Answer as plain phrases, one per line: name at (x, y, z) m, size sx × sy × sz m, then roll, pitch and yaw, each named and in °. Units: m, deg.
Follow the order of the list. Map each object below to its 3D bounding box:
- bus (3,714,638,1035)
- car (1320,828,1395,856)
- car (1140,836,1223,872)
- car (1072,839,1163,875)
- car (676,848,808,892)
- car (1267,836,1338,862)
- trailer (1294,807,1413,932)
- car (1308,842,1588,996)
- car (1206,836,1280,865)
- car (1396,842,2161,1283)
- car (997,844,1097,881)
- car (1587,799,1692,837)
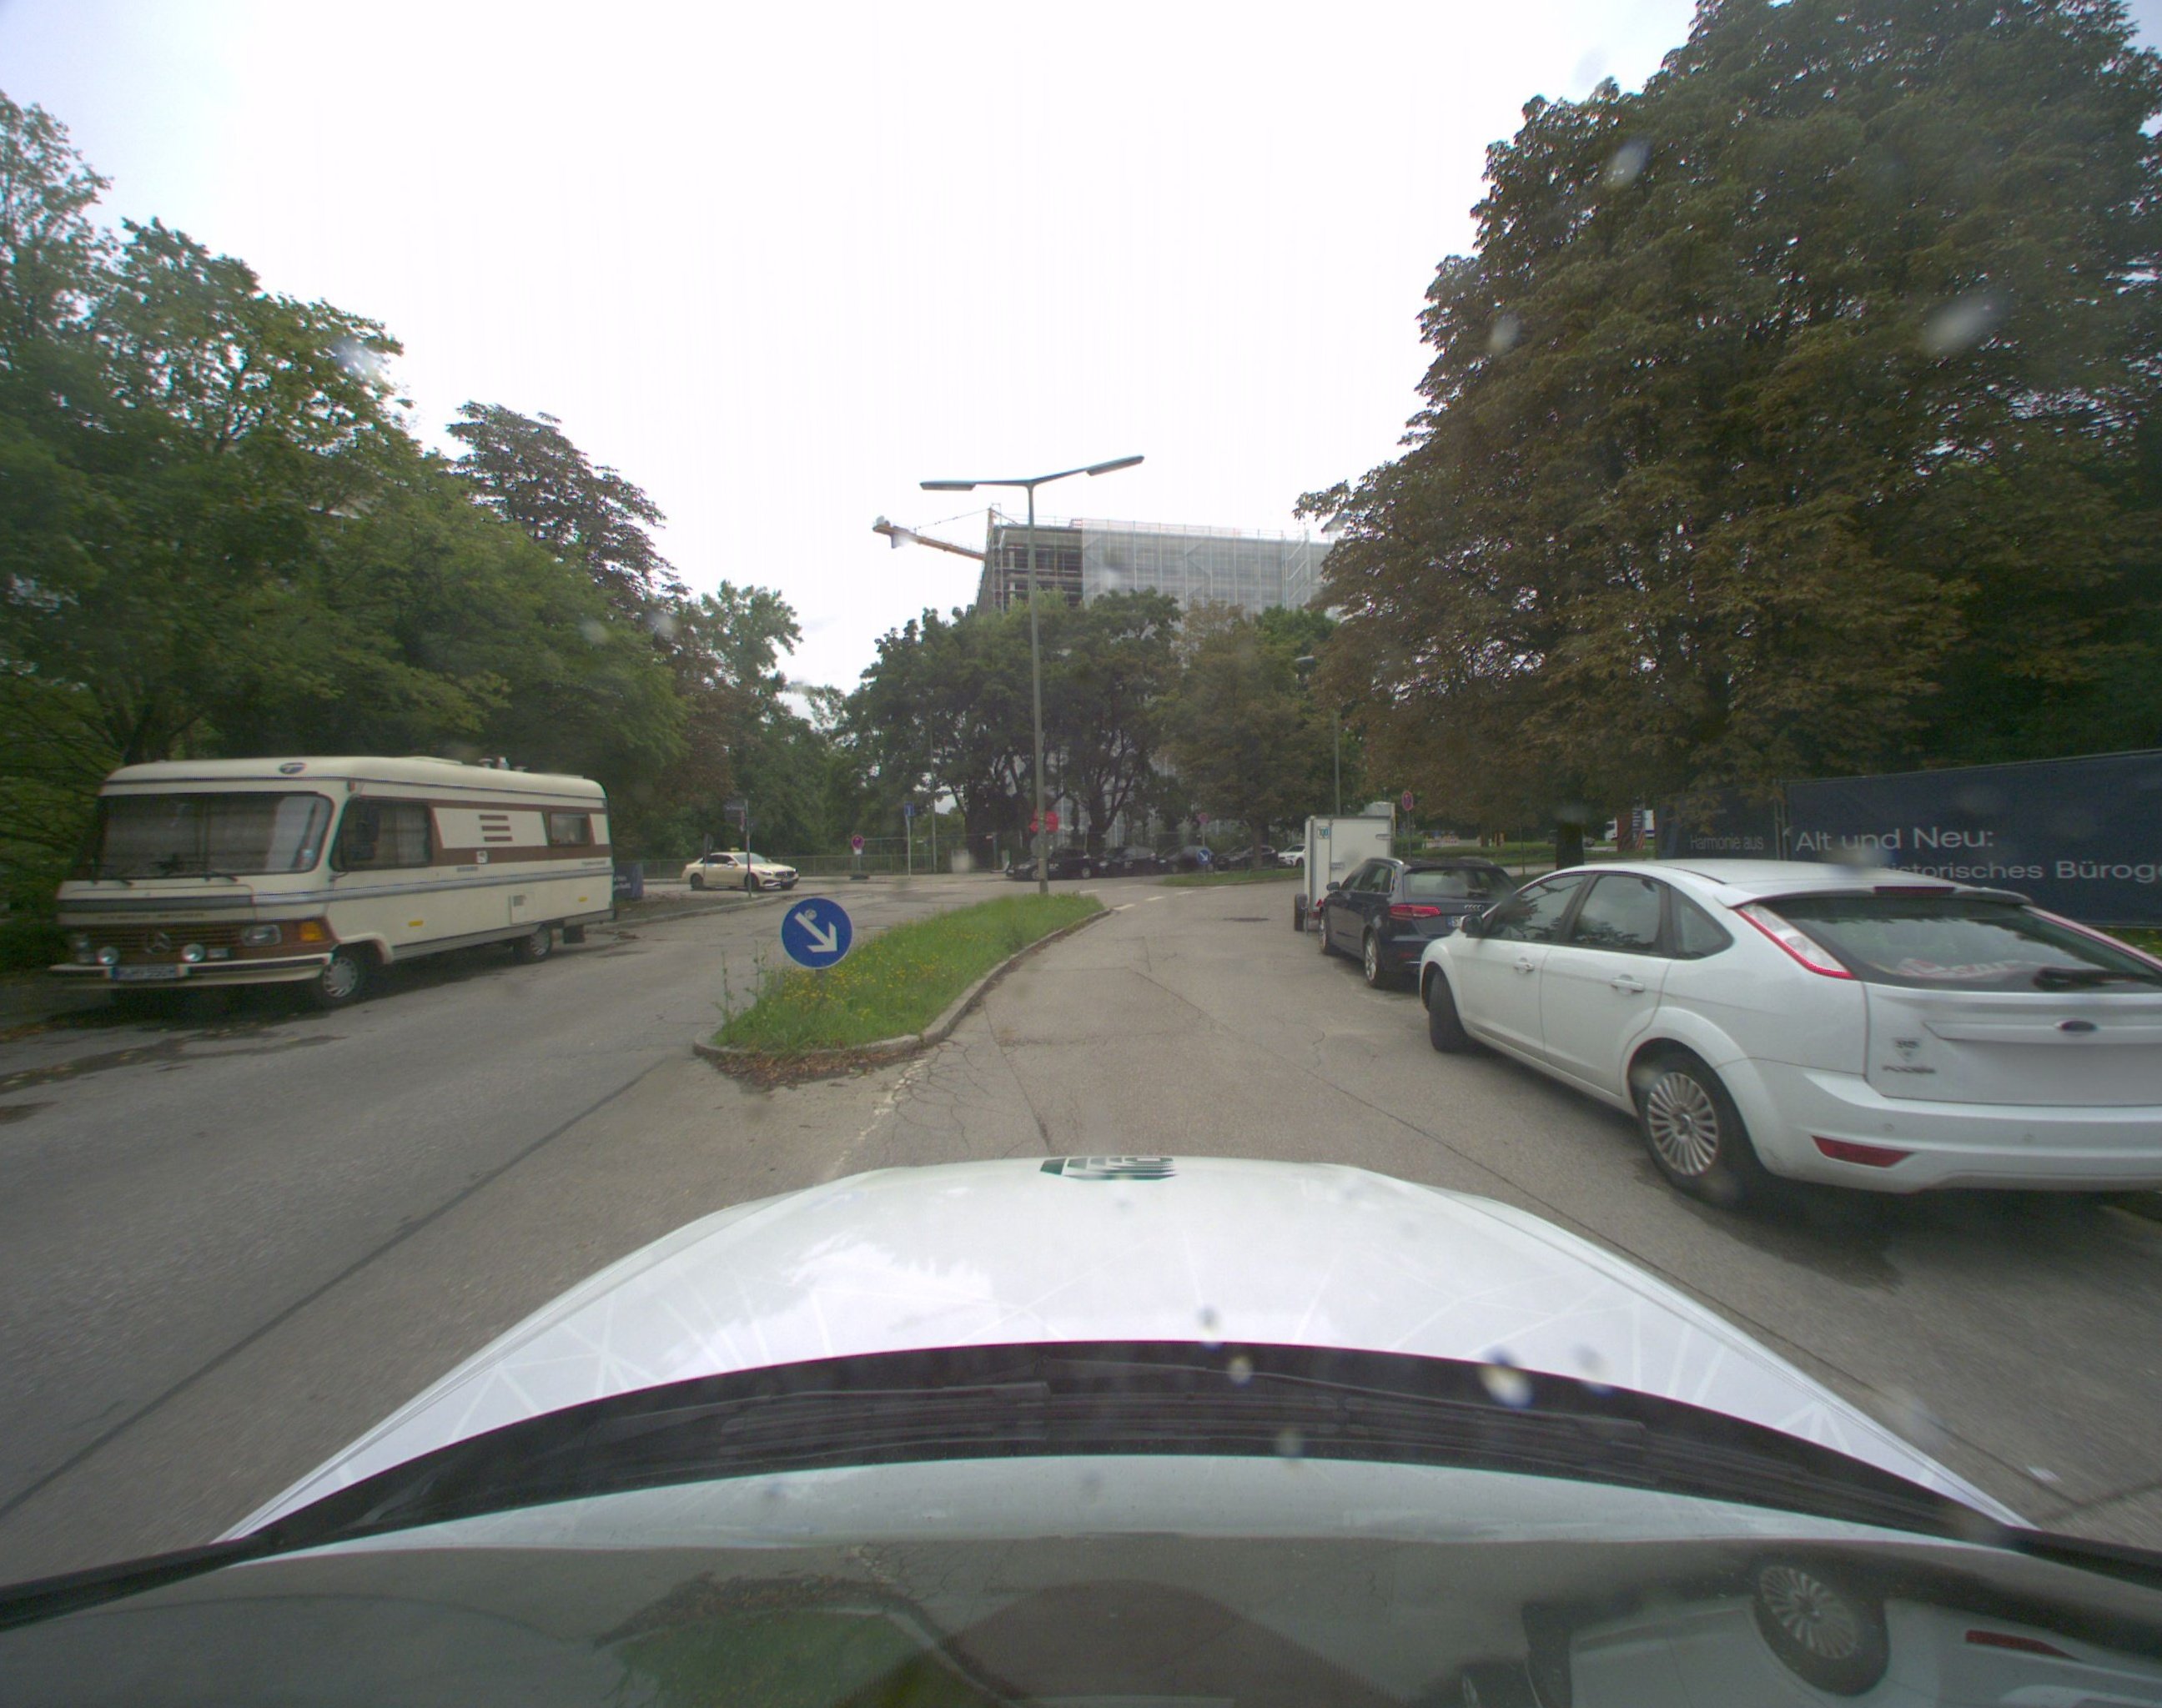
bus at (-8.087, 0.131, 9.882) m, size 2.309 × 2.698 × 5.731 m, roll -2°, pitch 1°, yaw -1°
car at (17.044, -0.710, 50.125) m, size 4.406 × 1.606 × 1.875 m, roll 0°, pitch -1°, yaw -27°
car at (5.224, 0.000, 42.000) m, size 4.019 × 1.706 × 1.977 m, roll -2°, pitch 0°, yaw -38°
car at (1.767, 0.129, 38.744) m, size 4.019 × 1.541 × 1.977 m, roll -2°, pitch 1°, yaw -38°
car at (-12.939, 0.615, 31.044) m, size 4.793 × 1.545 × 1.905 m, roll -1°, pitch 1°, yaw 25°
car at (13.039, -0.313, 47.859) m, size 4.237 × 1.383 × 1.782 m, roll -2°, pitch 0°, yaw -36°
trailer at (5.135, 0.242, 15.724) m, size 1.795 × 2.013 × 4.855 m, roll -2°, pitch 0°, yaw 16°
car at (4.224, 0.618, 10.220) m, size 1.863 × 1.437 × 4.335 m, roll -2°, pitch 1°, yaw 5°
car at (8.970, -0.194, 45.042) m, size 4.025 × 1.460 × 1.819 m, roll -2°, pitch 0°, yaw -38°
car at (3.575, 0.699, 4.933) m, size 1.760 × 1.486 × 4.222 m, roll -2°, pitch 1°, yaw 1°
car at (-1.486, 0.341, 36.154) m, size 4.062 × 1.432 × 1.978 m, roll -2°, pitch 3°, yaw -38°
car at (56.075, -3.537, 82.094) m, size 3.091 × 3.448 × 8.672 m, roll -2°, pitch 1°, yaw -16°
